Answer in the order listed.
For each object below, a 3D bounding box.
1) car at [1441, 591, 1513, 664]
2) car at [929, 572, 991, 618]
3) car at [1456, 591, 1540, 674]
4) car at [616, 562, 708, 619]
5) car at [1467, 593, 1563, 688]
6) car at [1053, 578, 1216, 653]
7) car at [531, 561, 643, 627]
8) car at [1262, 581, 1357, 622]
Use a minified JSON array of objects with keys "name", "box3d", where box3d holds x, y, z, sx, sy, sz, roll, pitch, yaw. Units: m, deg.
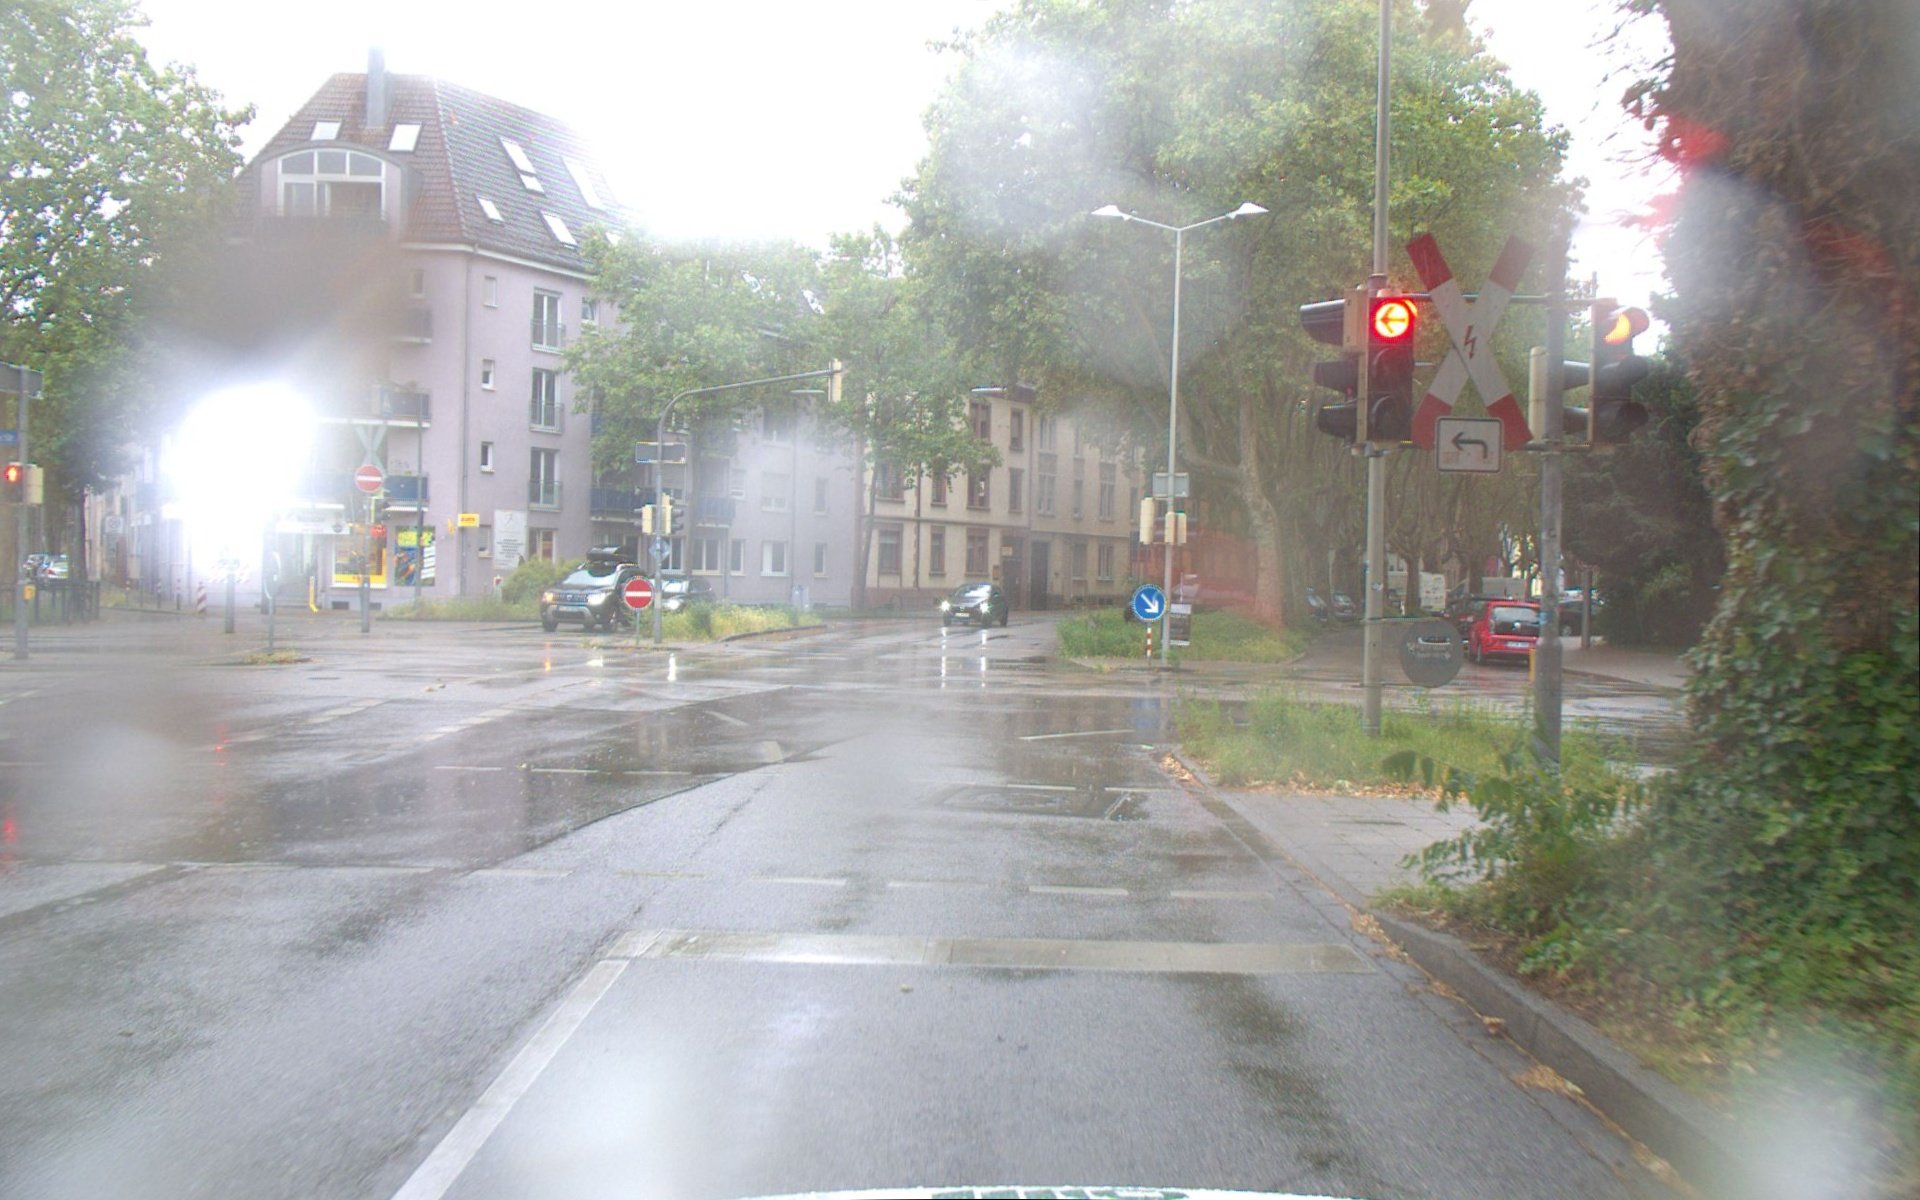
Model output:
[{"name":"car","box3d":[15.721,0.798,50.420,1.951,2.049,4.003,0,1,16]},{"name":"car","box3d":[0.026,-0.191,58.904,1.568,1.579,3.563,0,1,10]},{"name":"car","box3d":[14.217,0.811,43.882,1.951,2.049,4.003,0,1,16]},{"name":"car","box3d":[-8.519,-0.293,47.581,1.688,1.579,3.562,0,1,5]},{"name":"car","box3d":[13.106,0.906,39.252,1.951,2.049,4.003,0,1,16]},{"name":"car","box3d":[3.773,0.321,35.630,3.405,1.549,1.521,0,1,8]},{"name":"car","box3d":[-9.278,-0.172,41.360,1.688,1.579,3.562,0,1,5]},{"name":"car","box3d":[14.407,0.042,68.232,3.537,1.646,1.679,0,1,28]}]
